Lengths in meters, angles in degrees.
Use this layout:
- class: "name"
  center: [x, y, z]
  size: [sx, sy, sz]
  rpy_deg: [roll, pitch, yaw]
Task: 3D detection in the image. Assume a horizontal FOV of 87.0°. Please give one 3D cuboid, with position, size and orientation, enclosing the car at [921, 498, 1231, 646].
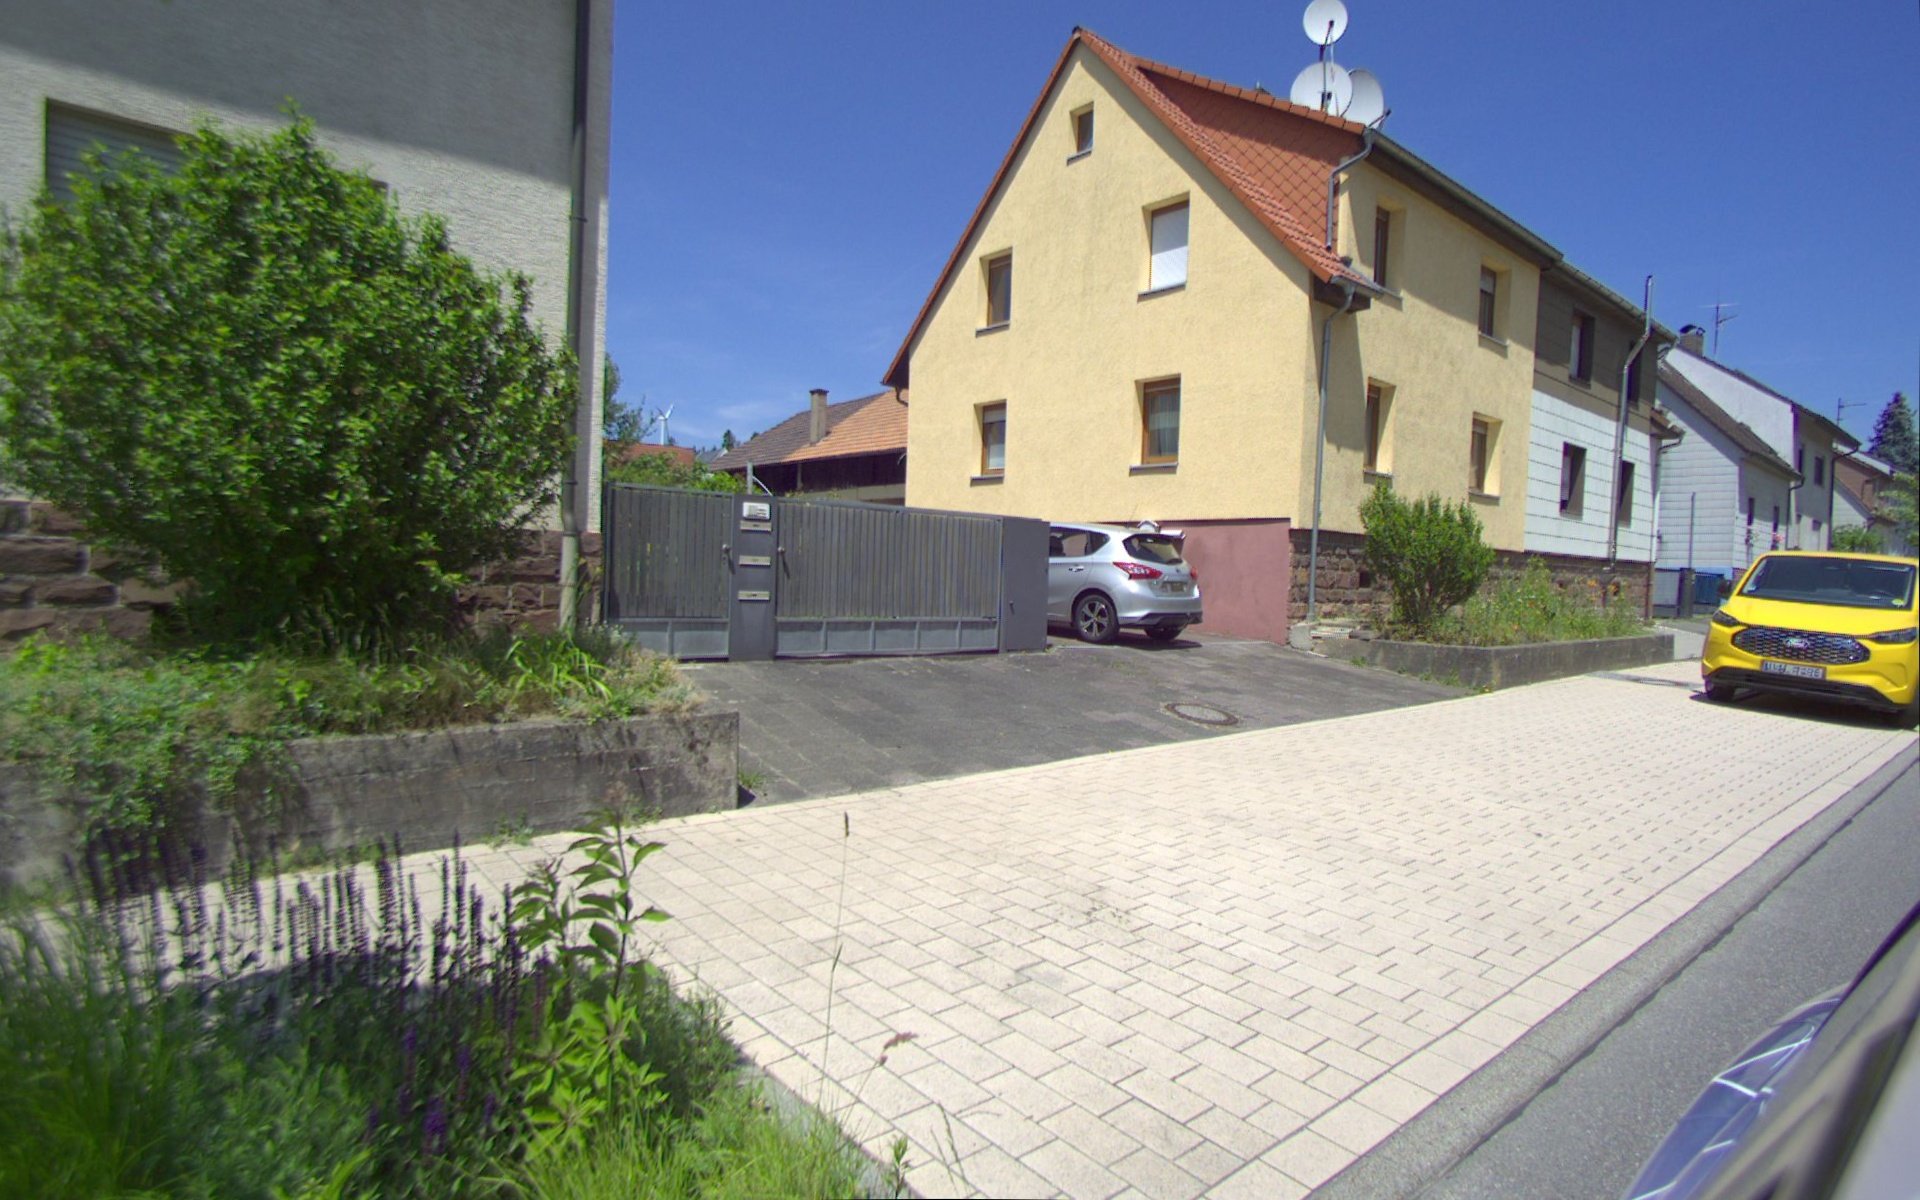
- class: "car"
  center: [1.484, -0.484, 14.113]
  size: [1.843, 1.696, 3.994]
  rpy_deg: [0, 5, -43]

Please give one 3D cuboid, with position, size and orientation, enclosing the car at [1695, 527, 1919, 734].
- class: "car"
  center: [11.490, 0.233, 12.911]
  size: [5.528, 2.037, 2.194]
  rpy_deg: [-1, 7, -42]
